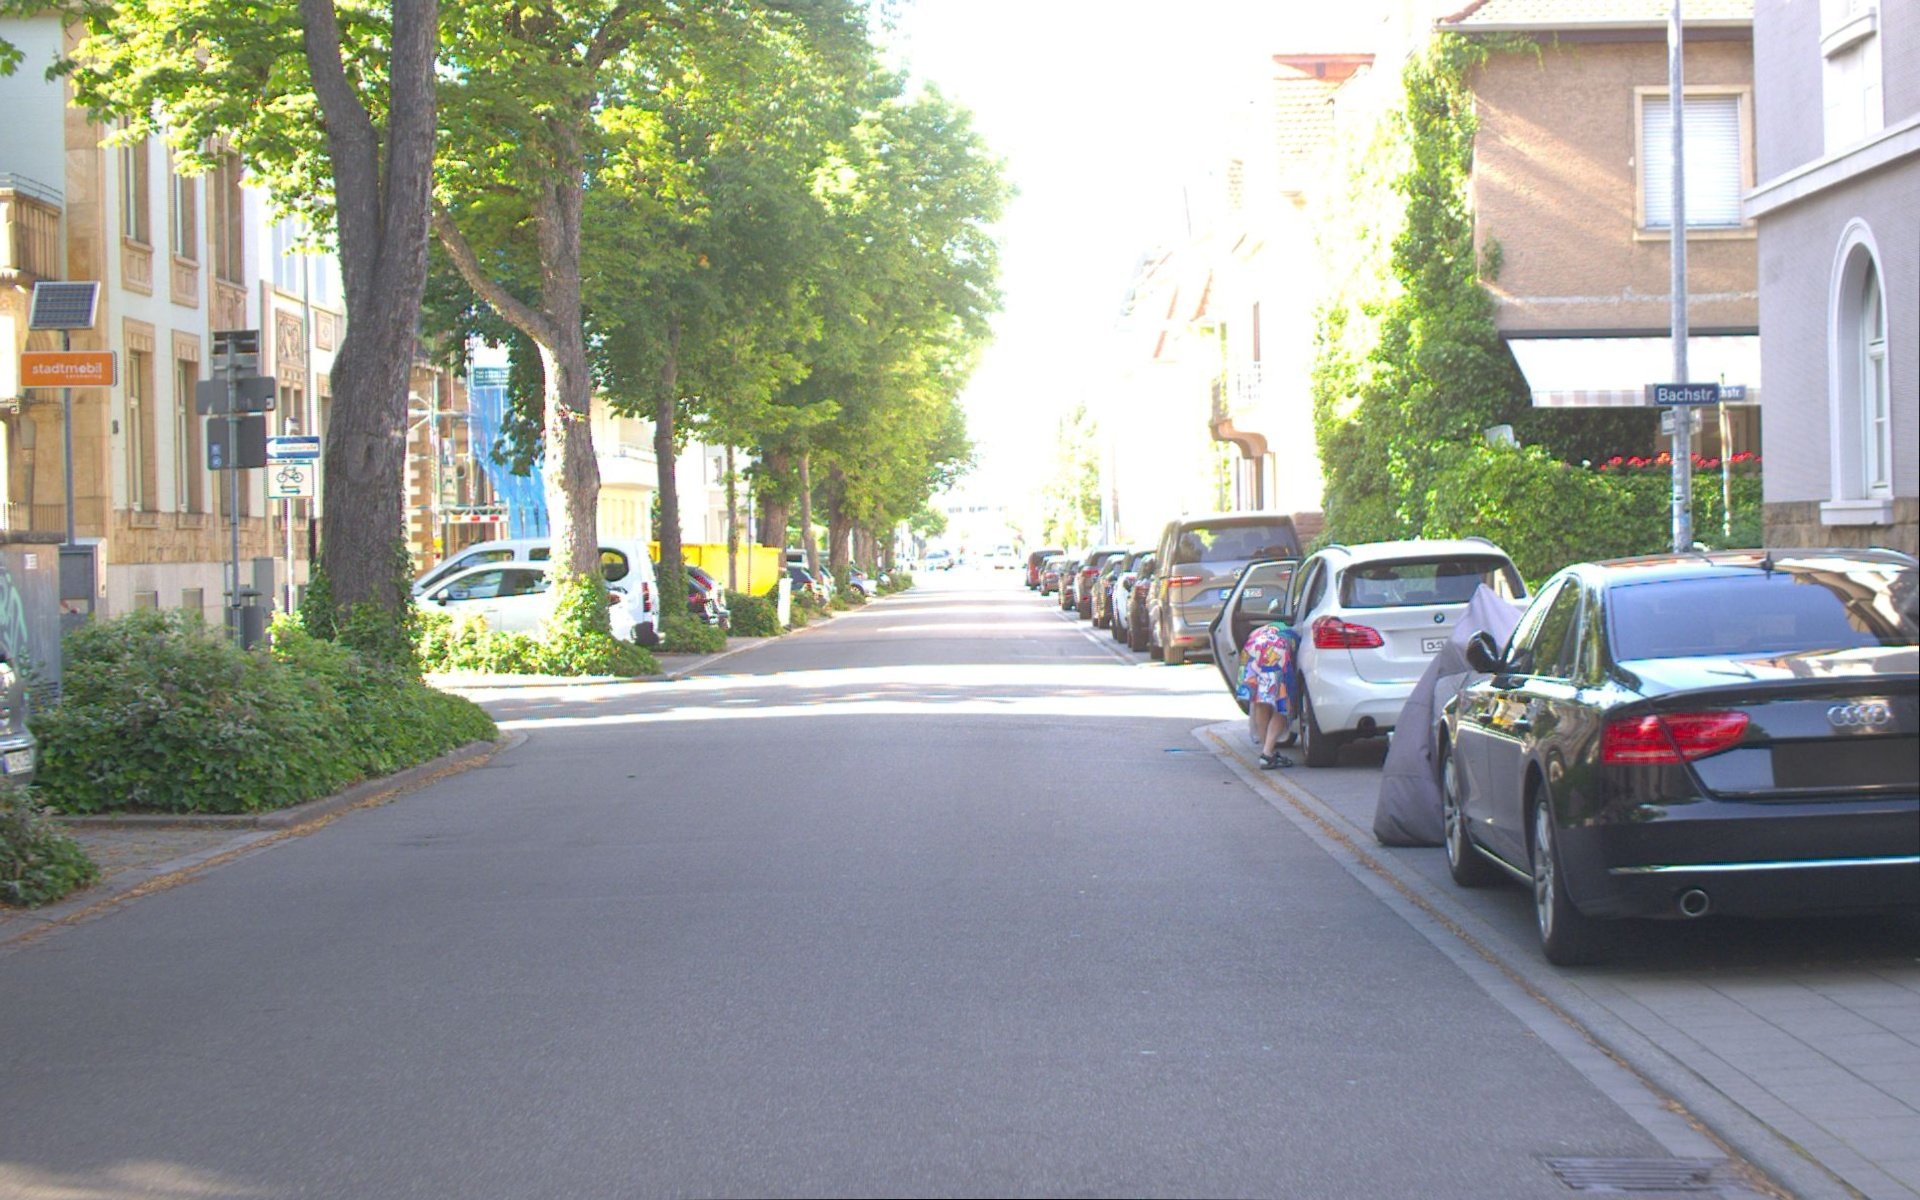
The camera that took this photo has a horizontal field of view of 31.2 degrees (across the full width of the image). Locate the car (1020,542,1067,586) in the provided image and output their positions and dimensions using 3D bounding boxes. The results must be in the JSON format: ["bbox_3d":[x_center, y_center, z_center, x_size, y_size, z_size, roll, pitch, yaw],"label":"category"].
[{"bbox_3d":[3.266,-1.417,133.687,1.771,1.625,3.866,-1,1,2],"label":"car"}]

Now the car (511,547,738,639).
[{"bbox_3d":[-6.067,-0.139,62.037,3.986,1.546,1.838,-1,1,-7],"label":"car"}]

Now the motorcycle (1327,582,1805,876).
[{"bbox_3d":[3.060,0.615,17.385,2.196,1.334,0.920,2,2,23],"label":"motorcycle"}]

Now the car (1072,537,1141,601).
[{"bbox_3d":[3.904,-0.849,92.108,1.771,1.625,3.866,-1,1,2],"label":"car"}]

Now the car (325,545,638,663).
[{"bbox_3d":[-6.360,0.049,45.995,3.986,1.459,1.798,1,0,-3],"label":"car"}]

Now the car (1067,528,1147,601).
[{"bbox_3d":[3.372,-0.845,79.555,1.771,1.625,3.866,-1,1,2],"label":"car"}]

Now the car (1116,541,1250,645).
[{"bbox_3d":[3.294,-0.133,51.378,1.690,1.394,3.805,-4,1,0],"label":"car"}]

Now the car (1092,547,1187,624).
[{"bbox_3d":[3.552,-0.317,68.648,1.771,1.450,3.866,-1,1,2],"label":"car"}]

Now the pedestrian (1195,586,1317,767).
[{"bbox_3d":[2.116,0.539,24.623,0.723,1.253,0.646,-2,1,-7],"label":"pedestrian"}]

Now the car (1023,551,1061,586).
[{"bbox_3d":[3.902,-1.495,162.785,1.771,1.625,3.866,-1,1,2],"label":"car"}]

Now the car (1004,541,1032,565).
[{"bbox_3d":[3.935,-3.183,232.785,1.771,1.625,3.866,-1,1,2],"label":"car"}]

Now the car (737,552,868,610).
[{"bbox_3d":[-5.049,-0.620,110.413,4.007,1.729,1.894,1,2,3],"label":"car"}]

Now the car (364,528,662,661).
[{"bbox_3d":[-6.236,-0.083,48.303,3.986,1.755,1.798,1,0,-3],"label":"car"}]

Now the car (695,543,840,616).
[{"bbox_3d":[-5.548,-0.595,98.805,3.986,2.007,2.000,-1,1,-7],"label":"car"}]

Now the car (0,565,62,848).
[{"bbox_3d":[-6.882,0.572,18.452,3.674,1.482,1.641,-1,1,0],"label":"car"}]

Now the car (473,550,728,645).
[{"bbox_3d":[-5.969,-0.053,57.376,3.987,1.464,1.864,-1,2,3],"label":"car"}]

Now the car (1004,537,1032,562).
[{"bbox_3d":[3.827,-3.330,225.665,1.771,1.625,3.866,-1,1,2],"label":"car"}]

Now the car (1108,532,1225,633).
[{"bbox_3d":[3.411,-0.320,57.374,1.789,1.612,3.866,-1,1,2],"label":"car"}]

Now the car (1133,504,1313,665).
[{"bbox_3d":[3.371,-0.236,44.833,1.904,1.864,4.673,-4,1,0],"label":"car"}]

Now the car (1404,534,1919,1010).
[{"bbox_3d":[2.957,0.523,13.552,1.854,1.488,4.608,-3,1,1],"label":"car"}]

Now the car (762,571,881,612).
[{"bbox_3d":[-5.046,-0.305,125.461,3.991,1.404,1.700,-1,1,20],"label":"car"}]

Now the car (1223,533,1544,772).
[{"bbox_3d":[3.043,0.329,25.492,1.699,1.534,4.156,-3,1,-1],"label":"car"}]
